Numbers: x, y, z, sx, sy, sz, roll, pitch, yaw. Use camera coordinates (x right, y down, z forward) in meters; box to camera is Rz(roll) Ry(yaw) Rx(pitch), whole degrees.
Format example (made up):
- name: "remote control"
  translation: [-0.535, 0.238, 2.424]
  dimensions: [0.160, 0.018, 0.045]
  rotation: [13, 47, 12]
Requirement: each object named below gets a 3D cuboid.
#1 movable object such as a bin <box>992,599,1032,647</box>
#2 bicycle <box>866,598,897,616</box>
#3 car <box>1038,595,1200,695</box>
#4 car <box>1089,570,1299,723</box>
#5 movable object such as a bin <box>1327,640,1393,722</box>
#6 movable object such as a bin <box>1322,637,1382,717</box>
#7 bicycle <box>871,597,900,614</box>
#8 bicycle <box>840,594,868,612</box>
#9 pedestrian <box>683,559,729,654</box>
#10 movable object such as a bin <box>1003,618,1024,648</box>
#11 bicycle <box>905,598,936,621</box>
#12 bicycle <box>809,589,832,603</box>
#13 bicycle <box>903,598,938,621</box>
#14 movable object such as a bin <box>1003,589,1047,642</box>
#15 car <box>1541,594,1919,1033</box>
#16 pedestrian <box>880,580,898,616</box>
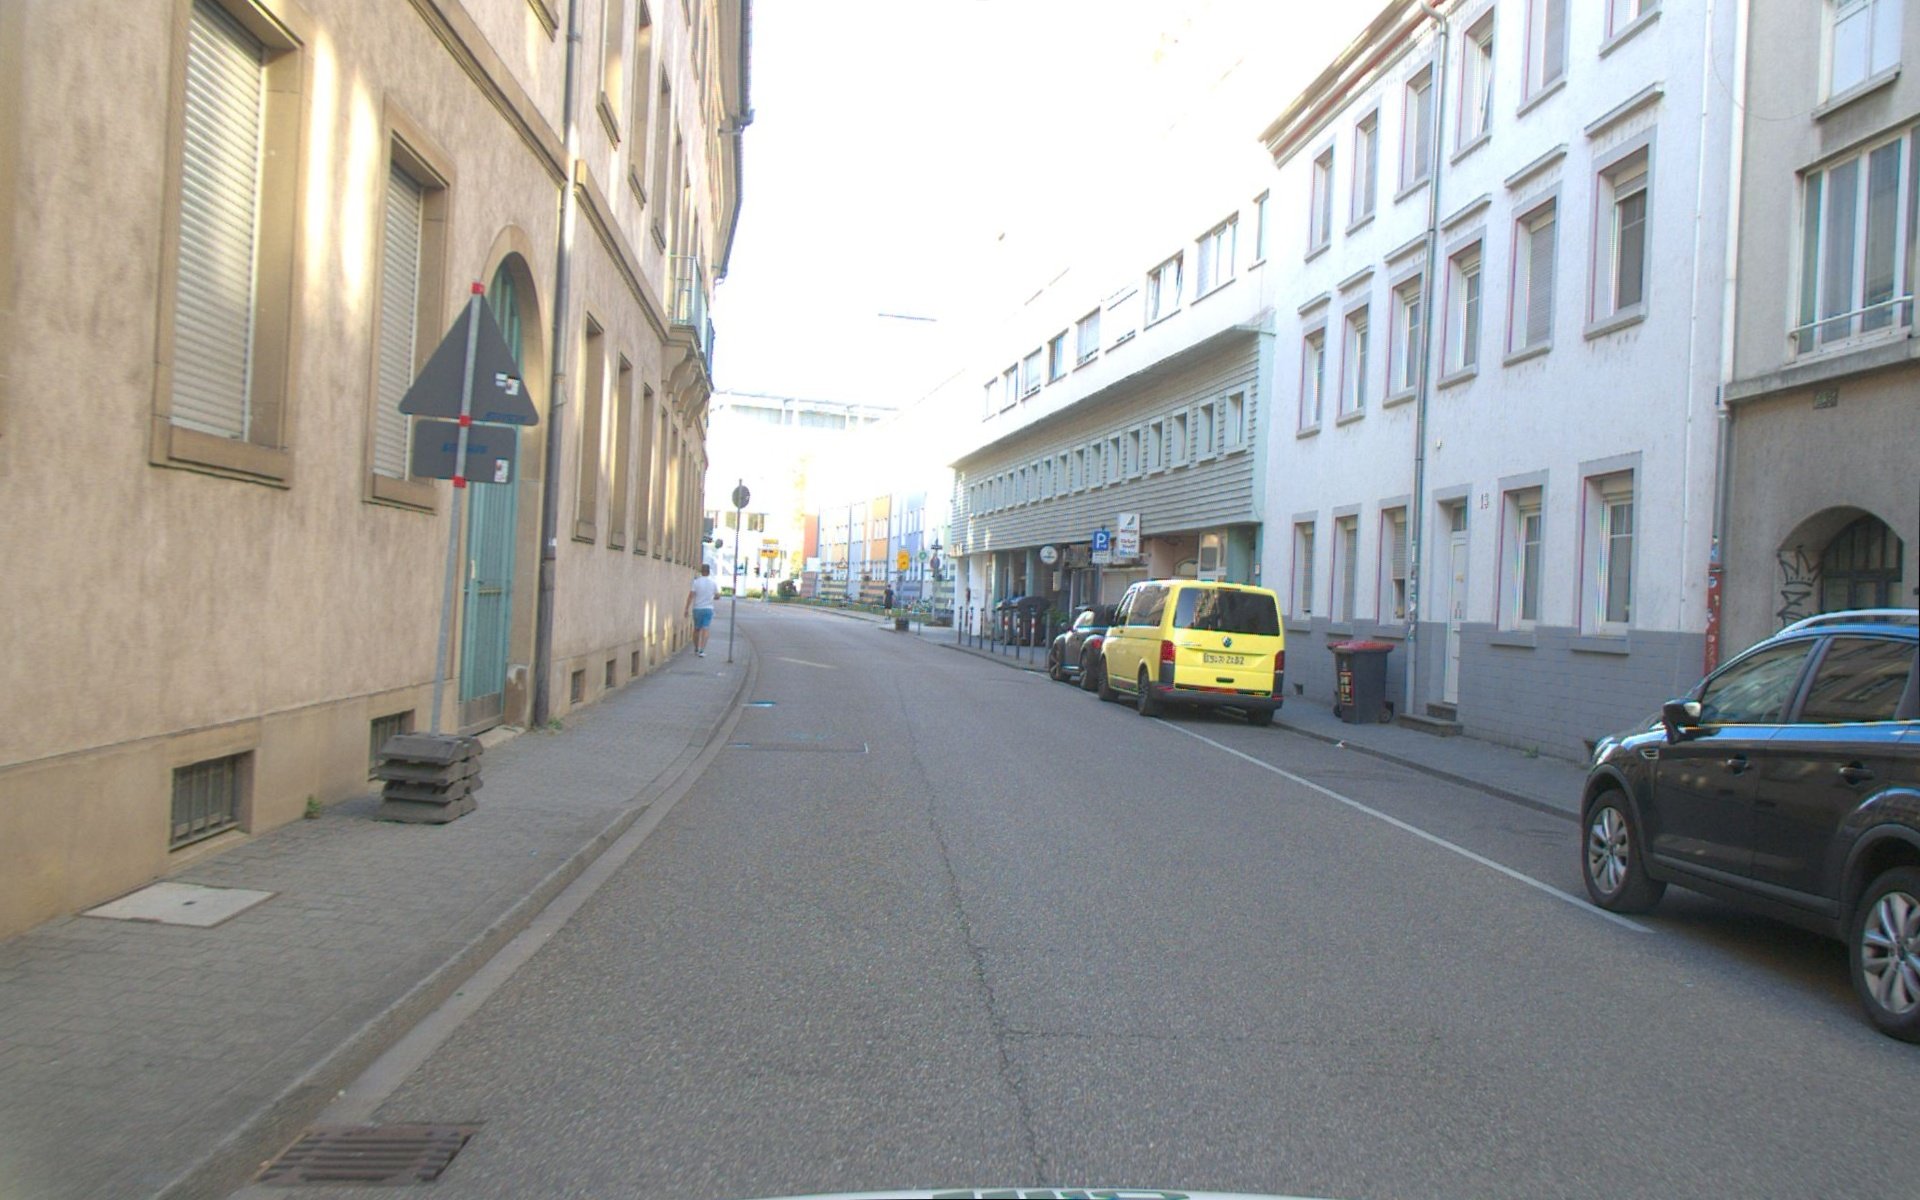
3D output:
- name: "movable object such as a bin"
  translation: [1.565, 0.705, 50.167]
  dimensions: [0.963, 1.409, 1.318]
  rotation: [2, -2, -9]
- name: "bicycle"
  translation: [-4.662, 0.416, 97.958]
  dimensions: [1.717, 0.963, 0.550]
  rotation: [2, -1, -12]
- name: "car"
  translation: [2.763, 0.744, 29.754]
  dimensions: [1.848, 1.515, 4.360]
  rotation: [4, 0, -8]
- name: "car"
  translation: [3.321, 0.600, 24.484]
  dimensions: [1.847, 1.914, 4.839]
  rotation: [4, 0, -6]
- name: "movable object such as a bin"
  translation: [5.474, 1.100, 22.651]
  dimensions: [0.615, 1.069, 0.706]
  rotation: [-2, 0, -11]
- name: "movable object such as a bin"
  translation: [5.554, 1.085, 23.462]
  dimensions: [0.594, 1.069, 0.707]
  rotation: [-2, 0, -7]
- name: "bicycle"
  translation: [-4.498, 0.357, 99.875]
  dimensions: [1.717, 0.963, 0.325]
  rotation: [2, -1, -11]
- name: "bicycle"
  translation: [-7.337, 0.177, 114.446]
  dimensions: [1.779, 1.157, 0.550]
  rotation: [3, -1, -13]
- name: "pedestrian"
  translation: [-4.747, 0.123, 30.985]
  dimensions: [0.680, 1.698, 0.873]
  rotation: [5, -1, -7]
- name: "movable object such as a bin"
  translation: [1.655, 1.013, 51.228]
  dimensions: [0.546, 0.915, 0.522]
  rotation: [2, -2, -9]
- name: "bicycle"
  translation: [-2.046, 0.480, 85.746]
  dimensions: [1.616, 1.161, 0.282]
  rotation: [0, 1, -20]
- name: "bicycle"
  translation: [-10.814, -0.340, 128.163]
  dimensions: [1.725, 1.021, 0.610]
  rotation: [2, -1, -16]
- name: "bicycle"
  translation: [-2.014, 0.493, 84.316]
  dimensions: [1.717, 1.161, 0.550]
  rotation: [0, 1, -12]
- name: "movable object such as a bin"
  translation: [1.906, 0.478, 48.709]
  dimensions: [0.963, 1.506, 1.548]
  rotation: [2, -2, -9]
- name: "car"
  translation: [4.579, 0.879, 7.931]
  dimensions: [1.789, 1.683, 4.492]
  rotation: [4, 0, -2]
- name: "pedestrian"
  translation: [-3.598, -0.114, 83.761]
  dimensions: [0.684, 1.791, 1.186]
  rotation: [1, 0, -11]
